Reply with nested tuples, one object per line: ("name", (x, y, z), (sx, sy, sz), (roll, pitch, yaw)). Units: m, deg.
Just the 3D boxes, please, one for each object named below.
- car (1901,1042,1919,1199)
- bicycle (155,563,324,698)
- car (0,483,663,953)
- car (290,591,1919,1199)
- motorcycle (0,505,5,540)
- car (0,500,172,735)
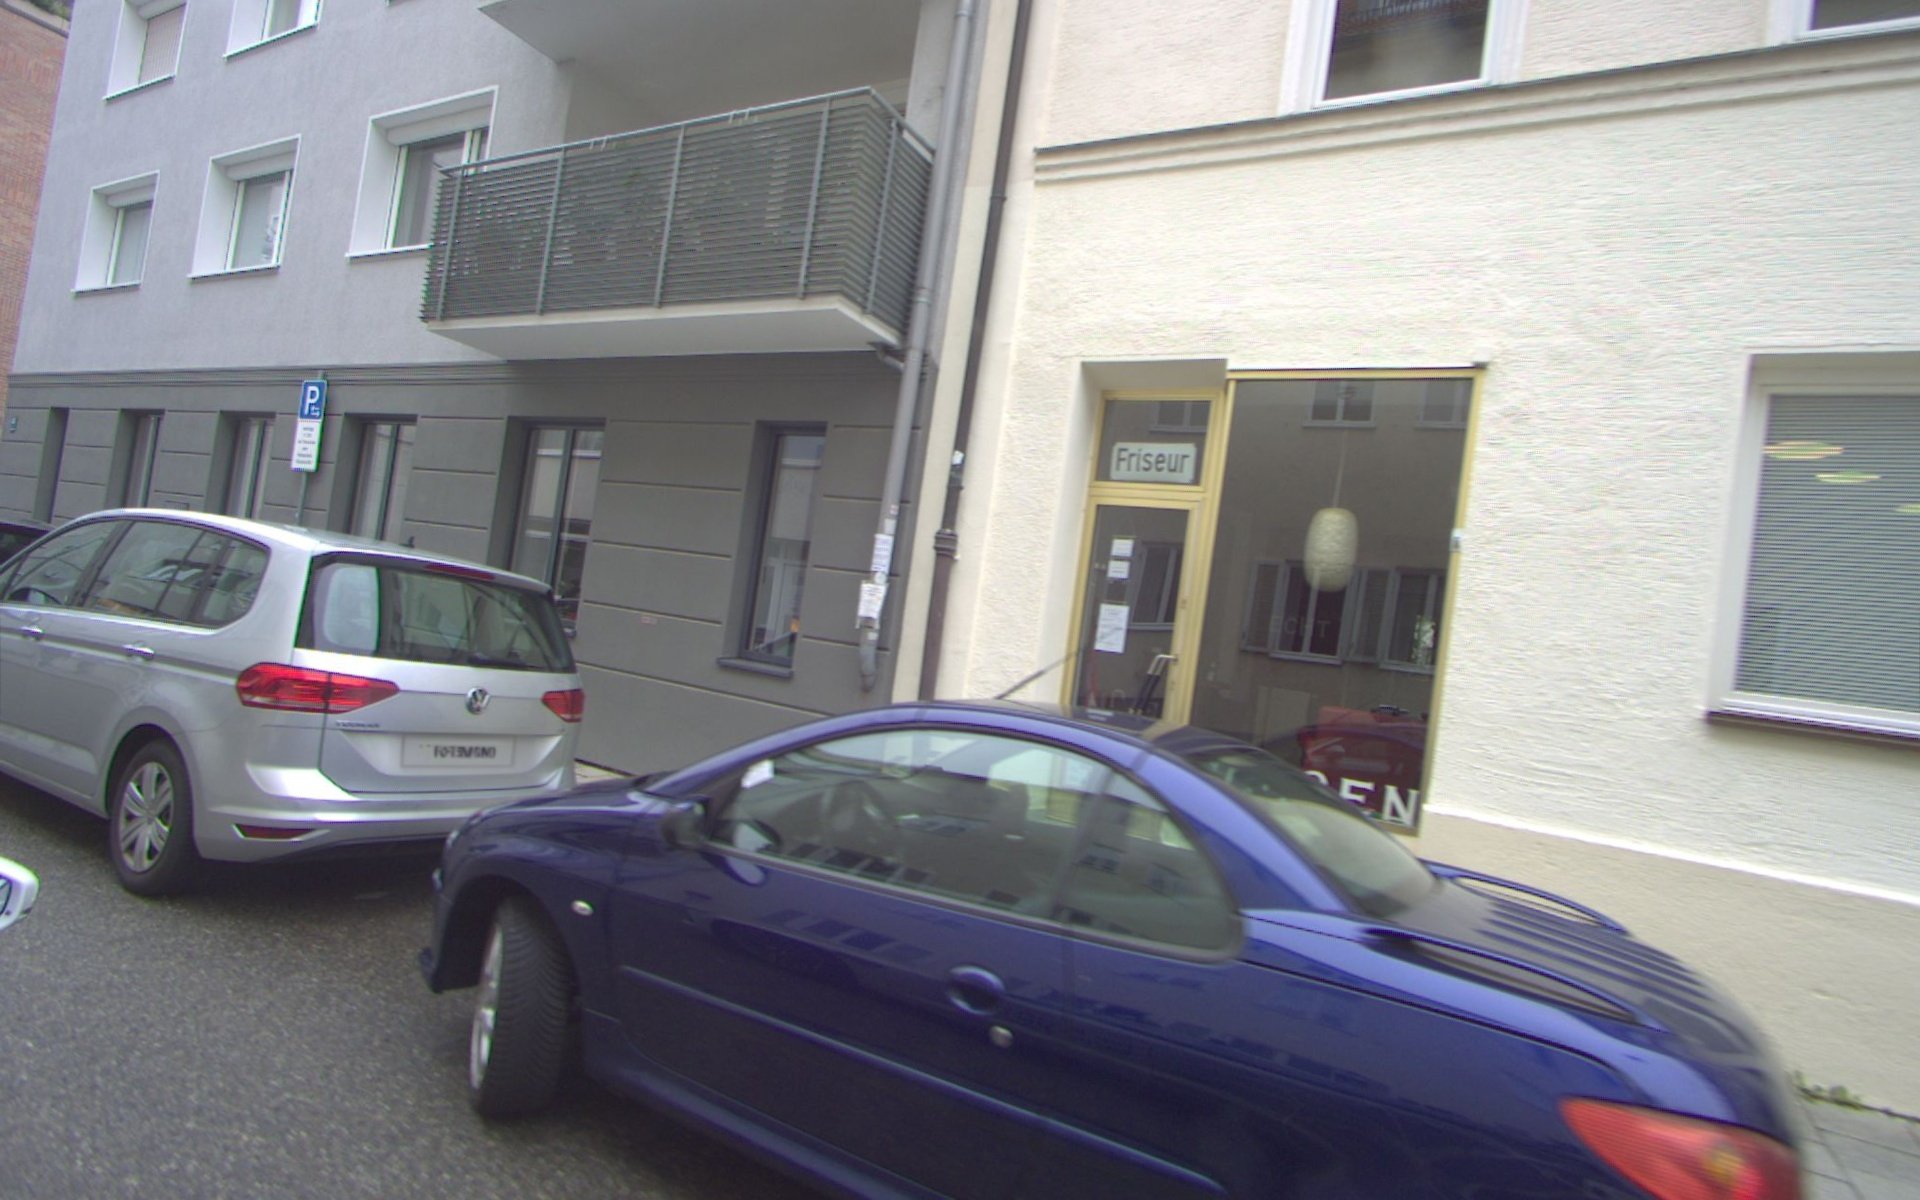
("car", (4.042, 1.365, 0.913), (4.275, 1.401, 1.804), (7, -2, 30))
("bicycle", (-7.338, 0.291, 10.216), (1.963, 1.104, 0.570), (7, -2, 32))
("car", (-3.936, 0.351, 5.488), (4.242, 1.589, 1.880), (7, -1, 29))
("car", (0.108, 0.941, 2.895), (3.879, 1.379, 1.812), (7, -2, 31))
("motorcycle", (-22.886, -1.591, 23.522), (1.914, 1.360, 0.539), (6, -2, 42))
("car", (-8.200, -0.100, 7.674), (4.220, 1.545, 1.845), (7, -3, 30))
